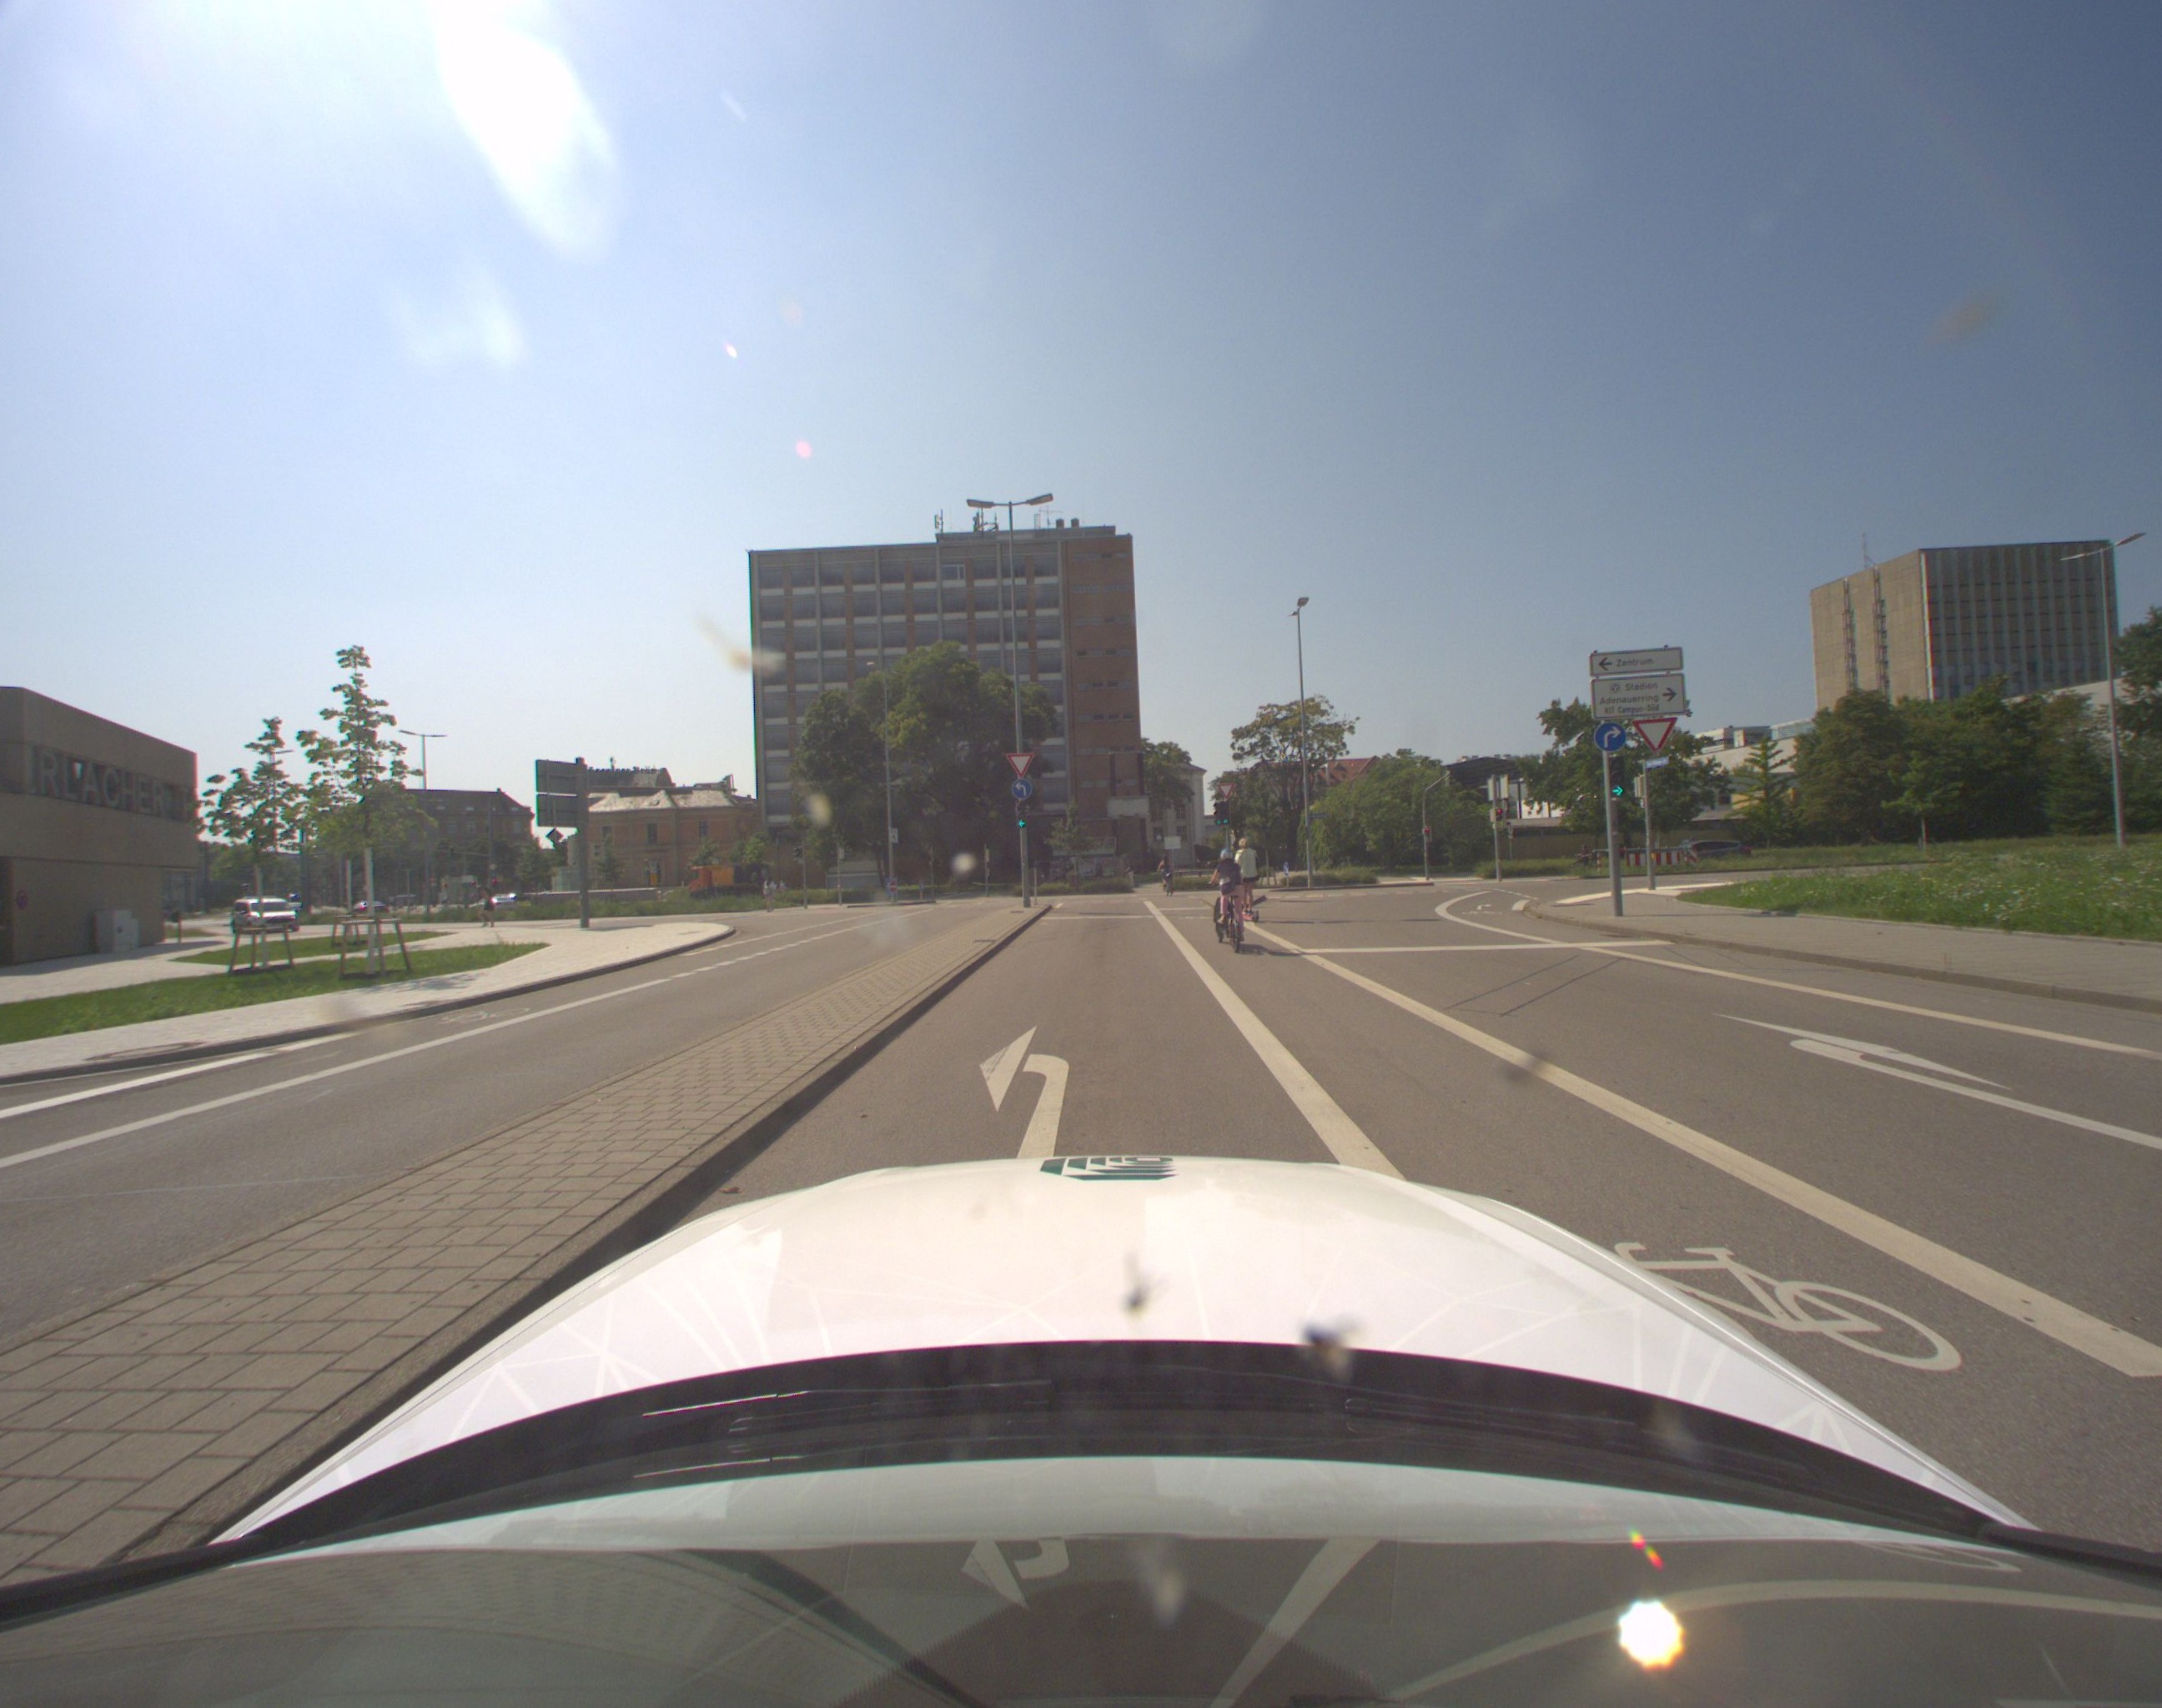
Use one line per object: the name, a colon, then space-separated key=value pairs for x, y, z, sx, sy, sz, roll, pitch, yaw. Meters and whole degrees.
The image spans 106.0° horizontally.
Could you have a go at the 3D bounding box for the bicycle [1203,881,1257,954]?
bicycle: x=2.445 y=1.013 z=13.565 sx=0.554 sy=1.060 sz=2.004 roll=-1 pitch=0 yaw=1

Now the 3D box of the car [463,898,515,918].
car: x=-47.952 y=4.405 z=65.953 sx=4.368 sy=1.455 sz=1.774 roll=-3 pitch=-2 yaw=30

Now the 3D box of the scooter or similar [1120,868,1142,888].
scooter or similar: x=3.387 y=1.617 z=55.062 sx=1.354 sy=1.234 sz=0.587 roll=-3 pitch=-1 yaw=12

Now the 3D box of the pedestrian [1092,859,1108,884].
pedestrian: x=1.345 y=1.234 z=58.002 sx=0.869 sy=1.704 sz=0.711 roll=-3 pitch=1 yaw=18

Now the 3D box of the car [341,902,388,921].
car: x=-55.498 y=4.460 z=63.065 sx=3.929 sy=1.404 sz=1.775 roll=-3 pitch=-2 yaw=34

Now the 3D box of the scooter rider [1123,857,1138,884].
scooter rider: x=3.342 y=1.111 z=55.015 sx=0.797 sy=1.739 sz=0.691 roll=-4 pitch=-1 yaw=12

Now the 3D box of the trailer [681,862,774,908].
trailer: x=-25.022 y=2.238 z=57.660 sx=6.247 sy=3.008 sz=2.485 roll=-3 pitch=-3 yaw=25

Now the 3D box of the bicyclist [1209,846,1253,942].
bicyclist: x=2.426 y=0.631 z=13.212 sx=0.547 sy=1.496 sz=0.804 roll=-1 pitch=-1 yaw=1

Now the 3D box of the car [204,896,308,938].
car: x=-42.745 y=3.237 z=42.197 sx=4.284 sy=1.859 sz=2.010 roll=-3 pitch=1 yaw=19

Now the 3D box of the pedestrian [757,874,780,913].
pedestrian: x=-14.321 y=1.808 z=37.314 sx=0.600 sy=1.695 sz=0.704 roll=-3 pitch=-1 yaw=19

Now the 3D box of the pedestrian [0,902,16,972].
pedestrian: x=-26.216 y=2.005 z=19.586 sx=0.571 sy=1.678 sz=0.530 roll=-2 pitch=-1 yaw=-34

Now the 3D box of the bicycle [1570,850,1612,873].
bicycle: x=28.100 y=0.416 z=44.904 sx=1.774 sy=1.212 sz=0.788 roll=-3 pitch=-1 yaw=6

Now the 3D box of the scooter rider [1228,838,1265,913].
scooter rider: x=3.862 y=0.489 z=19.044 sx=0.668 sy=1.699 sz=0.539 roll=-3 pitch=-1 yaw=1

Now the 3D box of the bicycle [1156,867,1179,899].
bicycle: x=3.531 y=1.166 z=33.448 sx=0.691 sy=1.155 sz=2.372 roll=-3 pitch=1 yaw=2

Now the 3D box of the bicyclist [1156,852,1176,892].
bicyclist: x=3.510 y=0.723 z=33.604 sx=0.688 sy=1.598 sz=0.844 roll=-3 pitch=1 yaw=1

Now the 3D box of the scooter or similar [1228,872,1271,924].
scooter or similar: x=3.869 y=0.983 z=18.815 sx=0.554 sy=1.060 sz=2.004 roll=-3 pitch=0 yaw=1

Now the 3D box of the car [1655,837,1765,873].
car: x=27.880 y=0.081 z=36.172 sx=3.396 sy=1.357 sz=1.794 roll=-3 pitch=-3 yaw=5

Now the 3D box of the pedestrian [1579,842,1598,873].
pedestrian: x=27.995 y=0.187 z=44.912 sx=0.544 sy=1.669 sz=0.782 roll=-3 pitch=-1 yaw=6

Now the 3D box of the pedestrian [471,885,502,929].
pedestrian: x=-23.882 y=2.125 z=32.717 sx=0.778 sy=1.702 sz=0.631 roll=-3 pitch=-1 yaw=19
